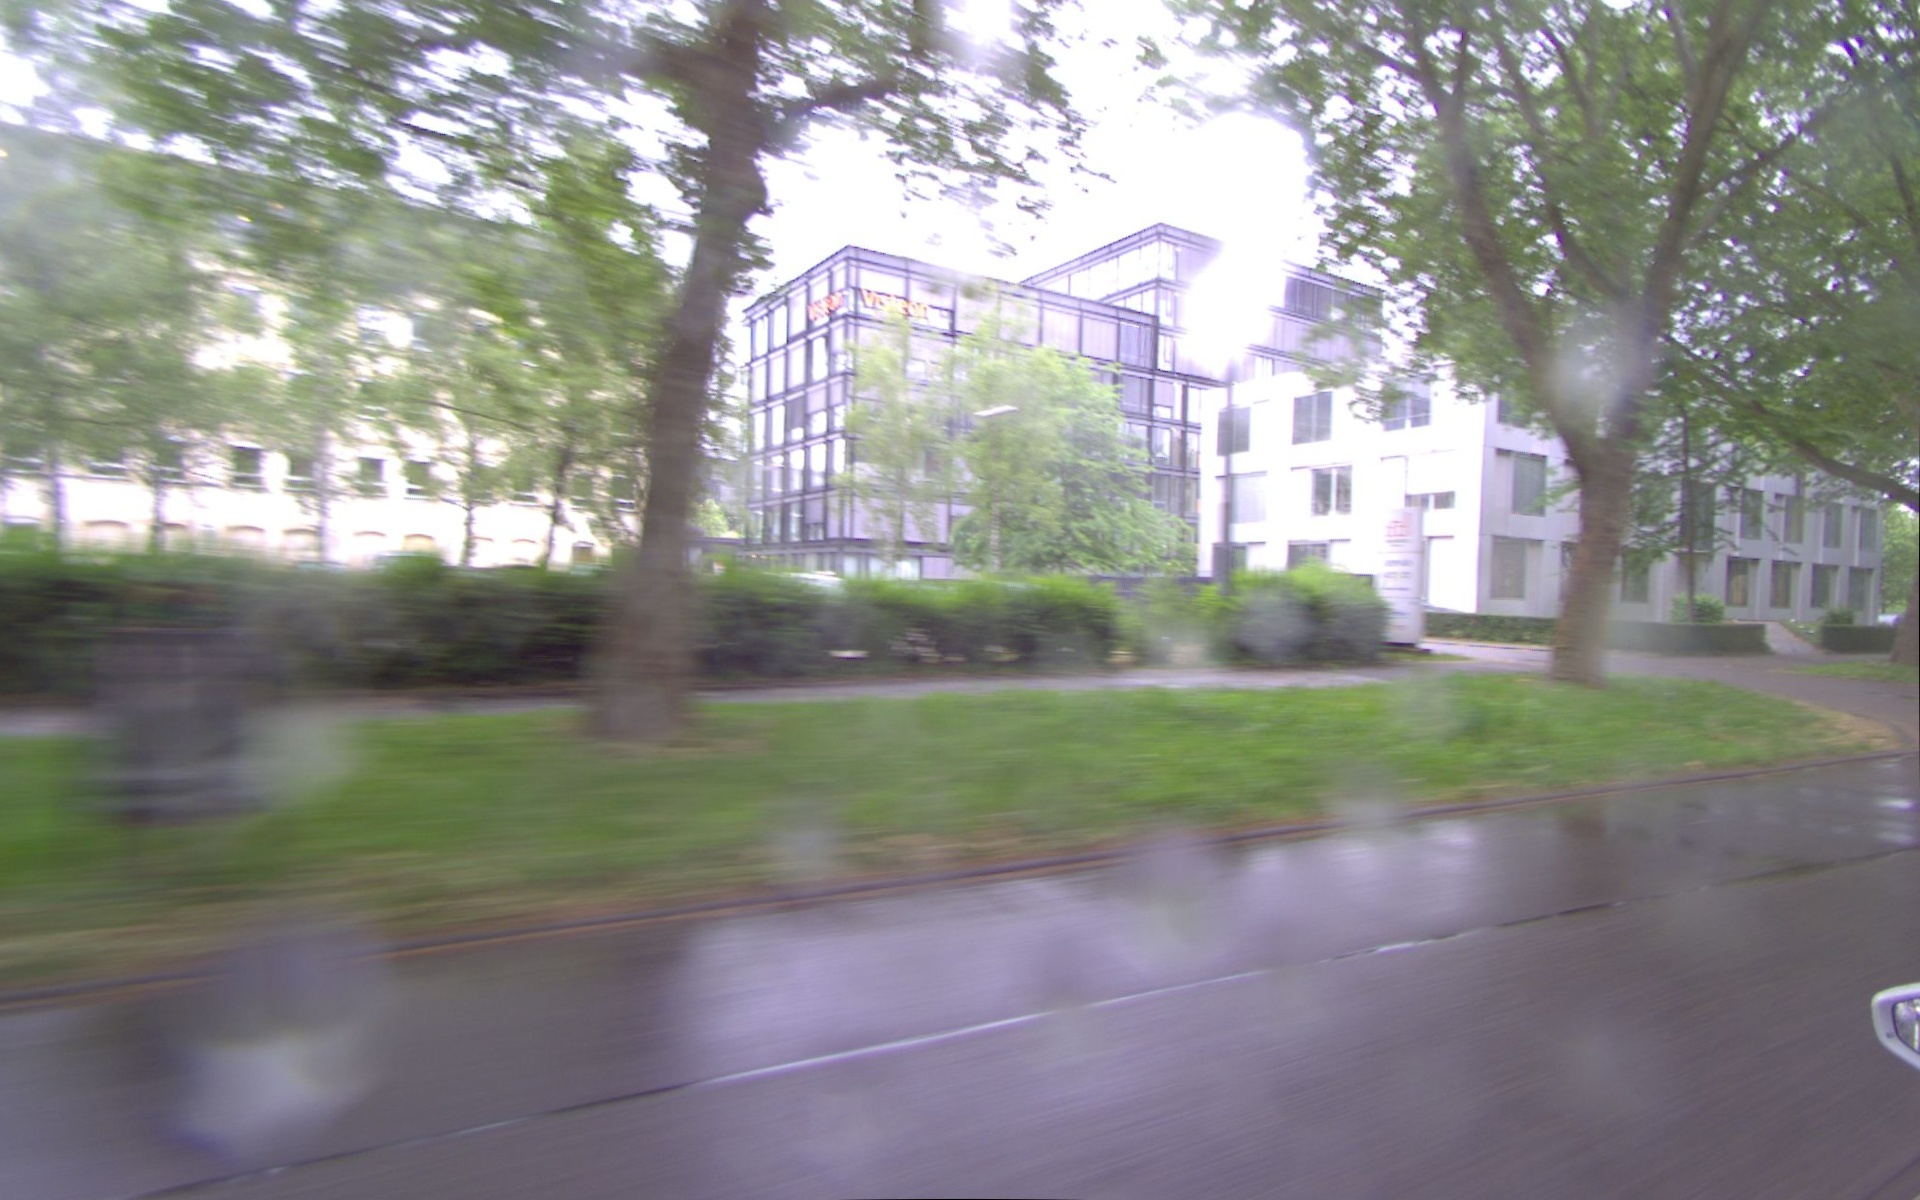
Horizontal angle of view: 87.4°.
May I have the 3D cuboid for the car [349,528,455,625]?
[{"bbox_3d":[-12.933,-0.484,23.432,1.975,2.040,3.971,1,0,-28],"label":"car"}]
